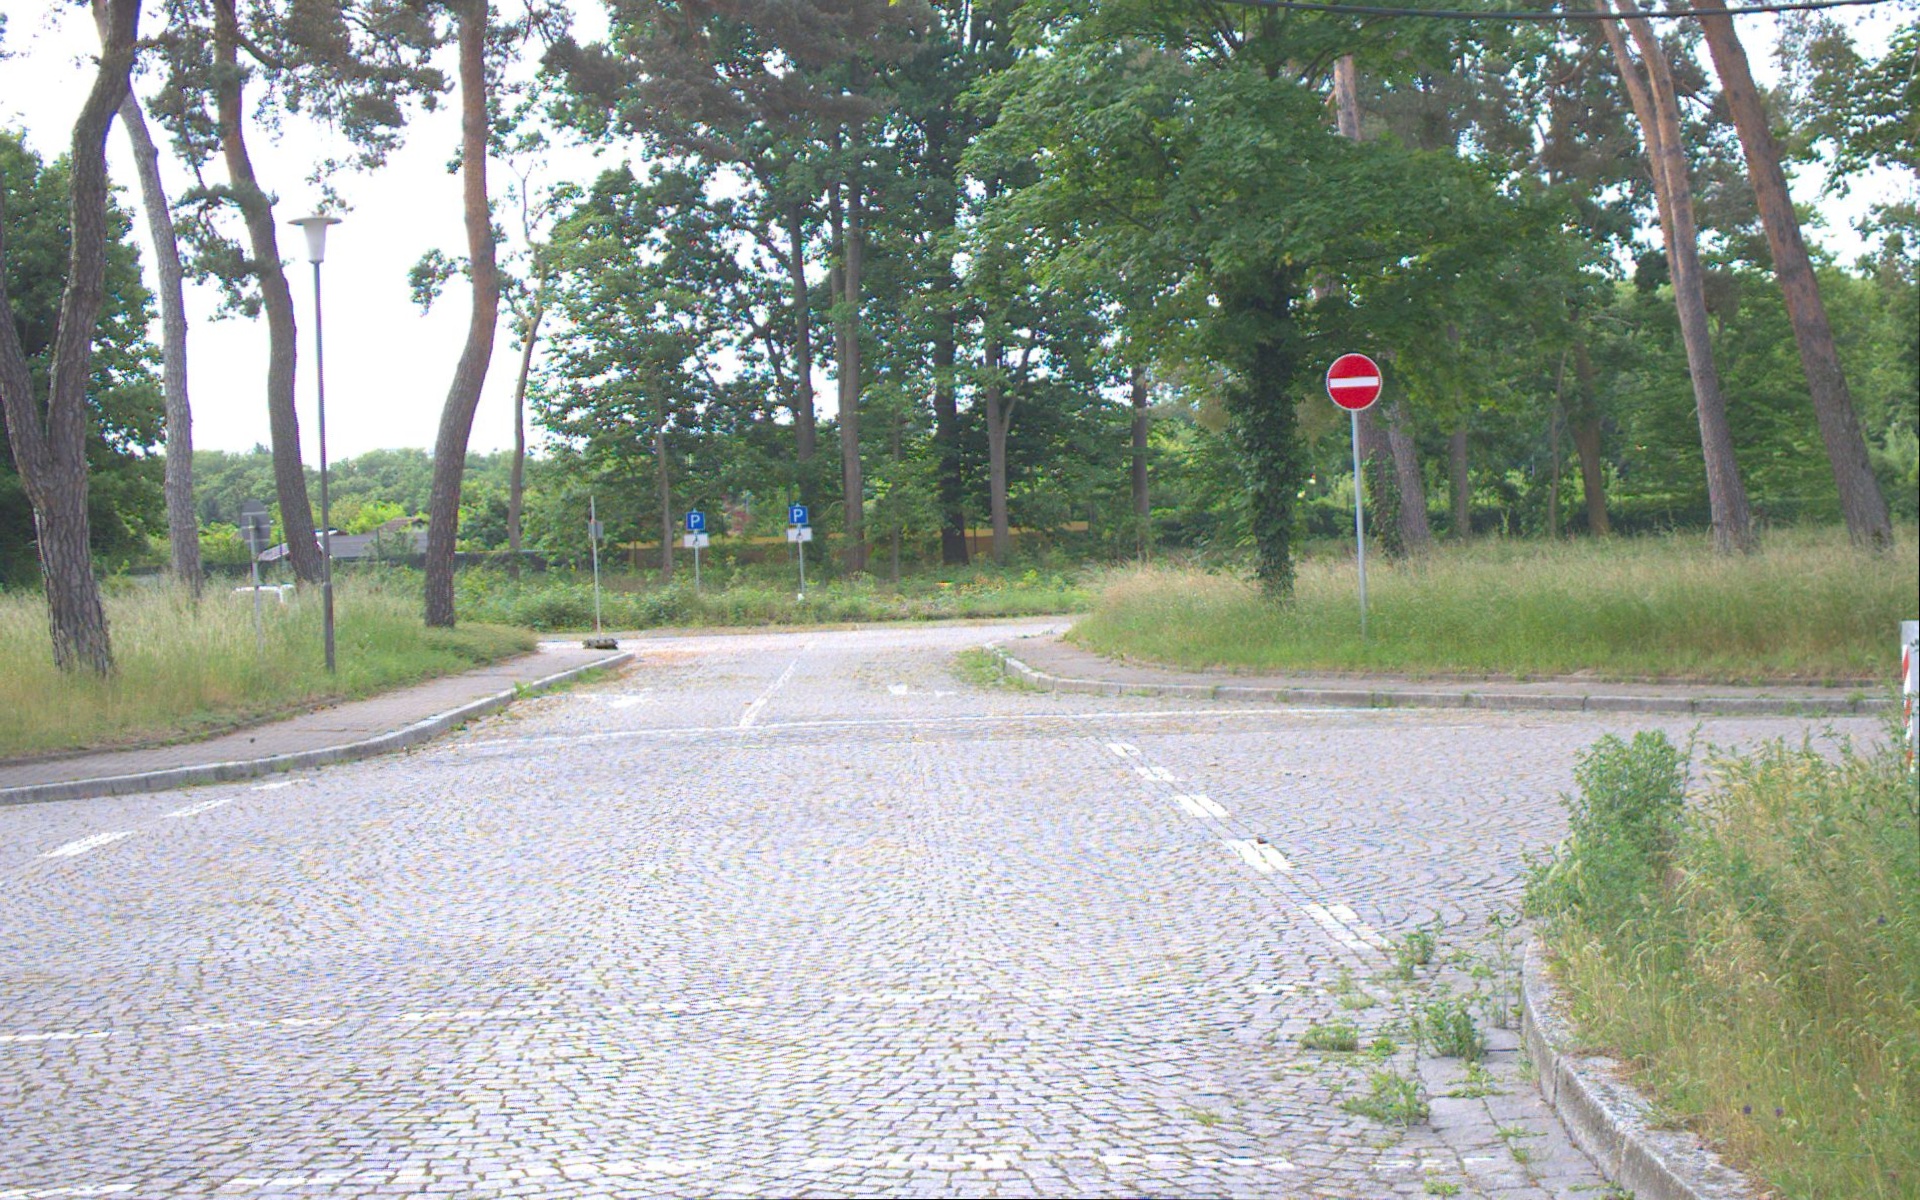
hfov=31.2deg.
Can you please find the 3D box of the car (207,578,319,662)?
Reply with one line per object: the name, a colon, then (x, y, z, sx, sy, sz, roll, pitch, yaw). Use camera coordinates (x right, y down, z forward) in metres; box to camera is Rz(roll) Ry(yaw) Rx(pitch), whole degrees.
car: (-15.875, 0.428, 78.474, 1.993, 1.840, 4.001, 0, 1, -4)
